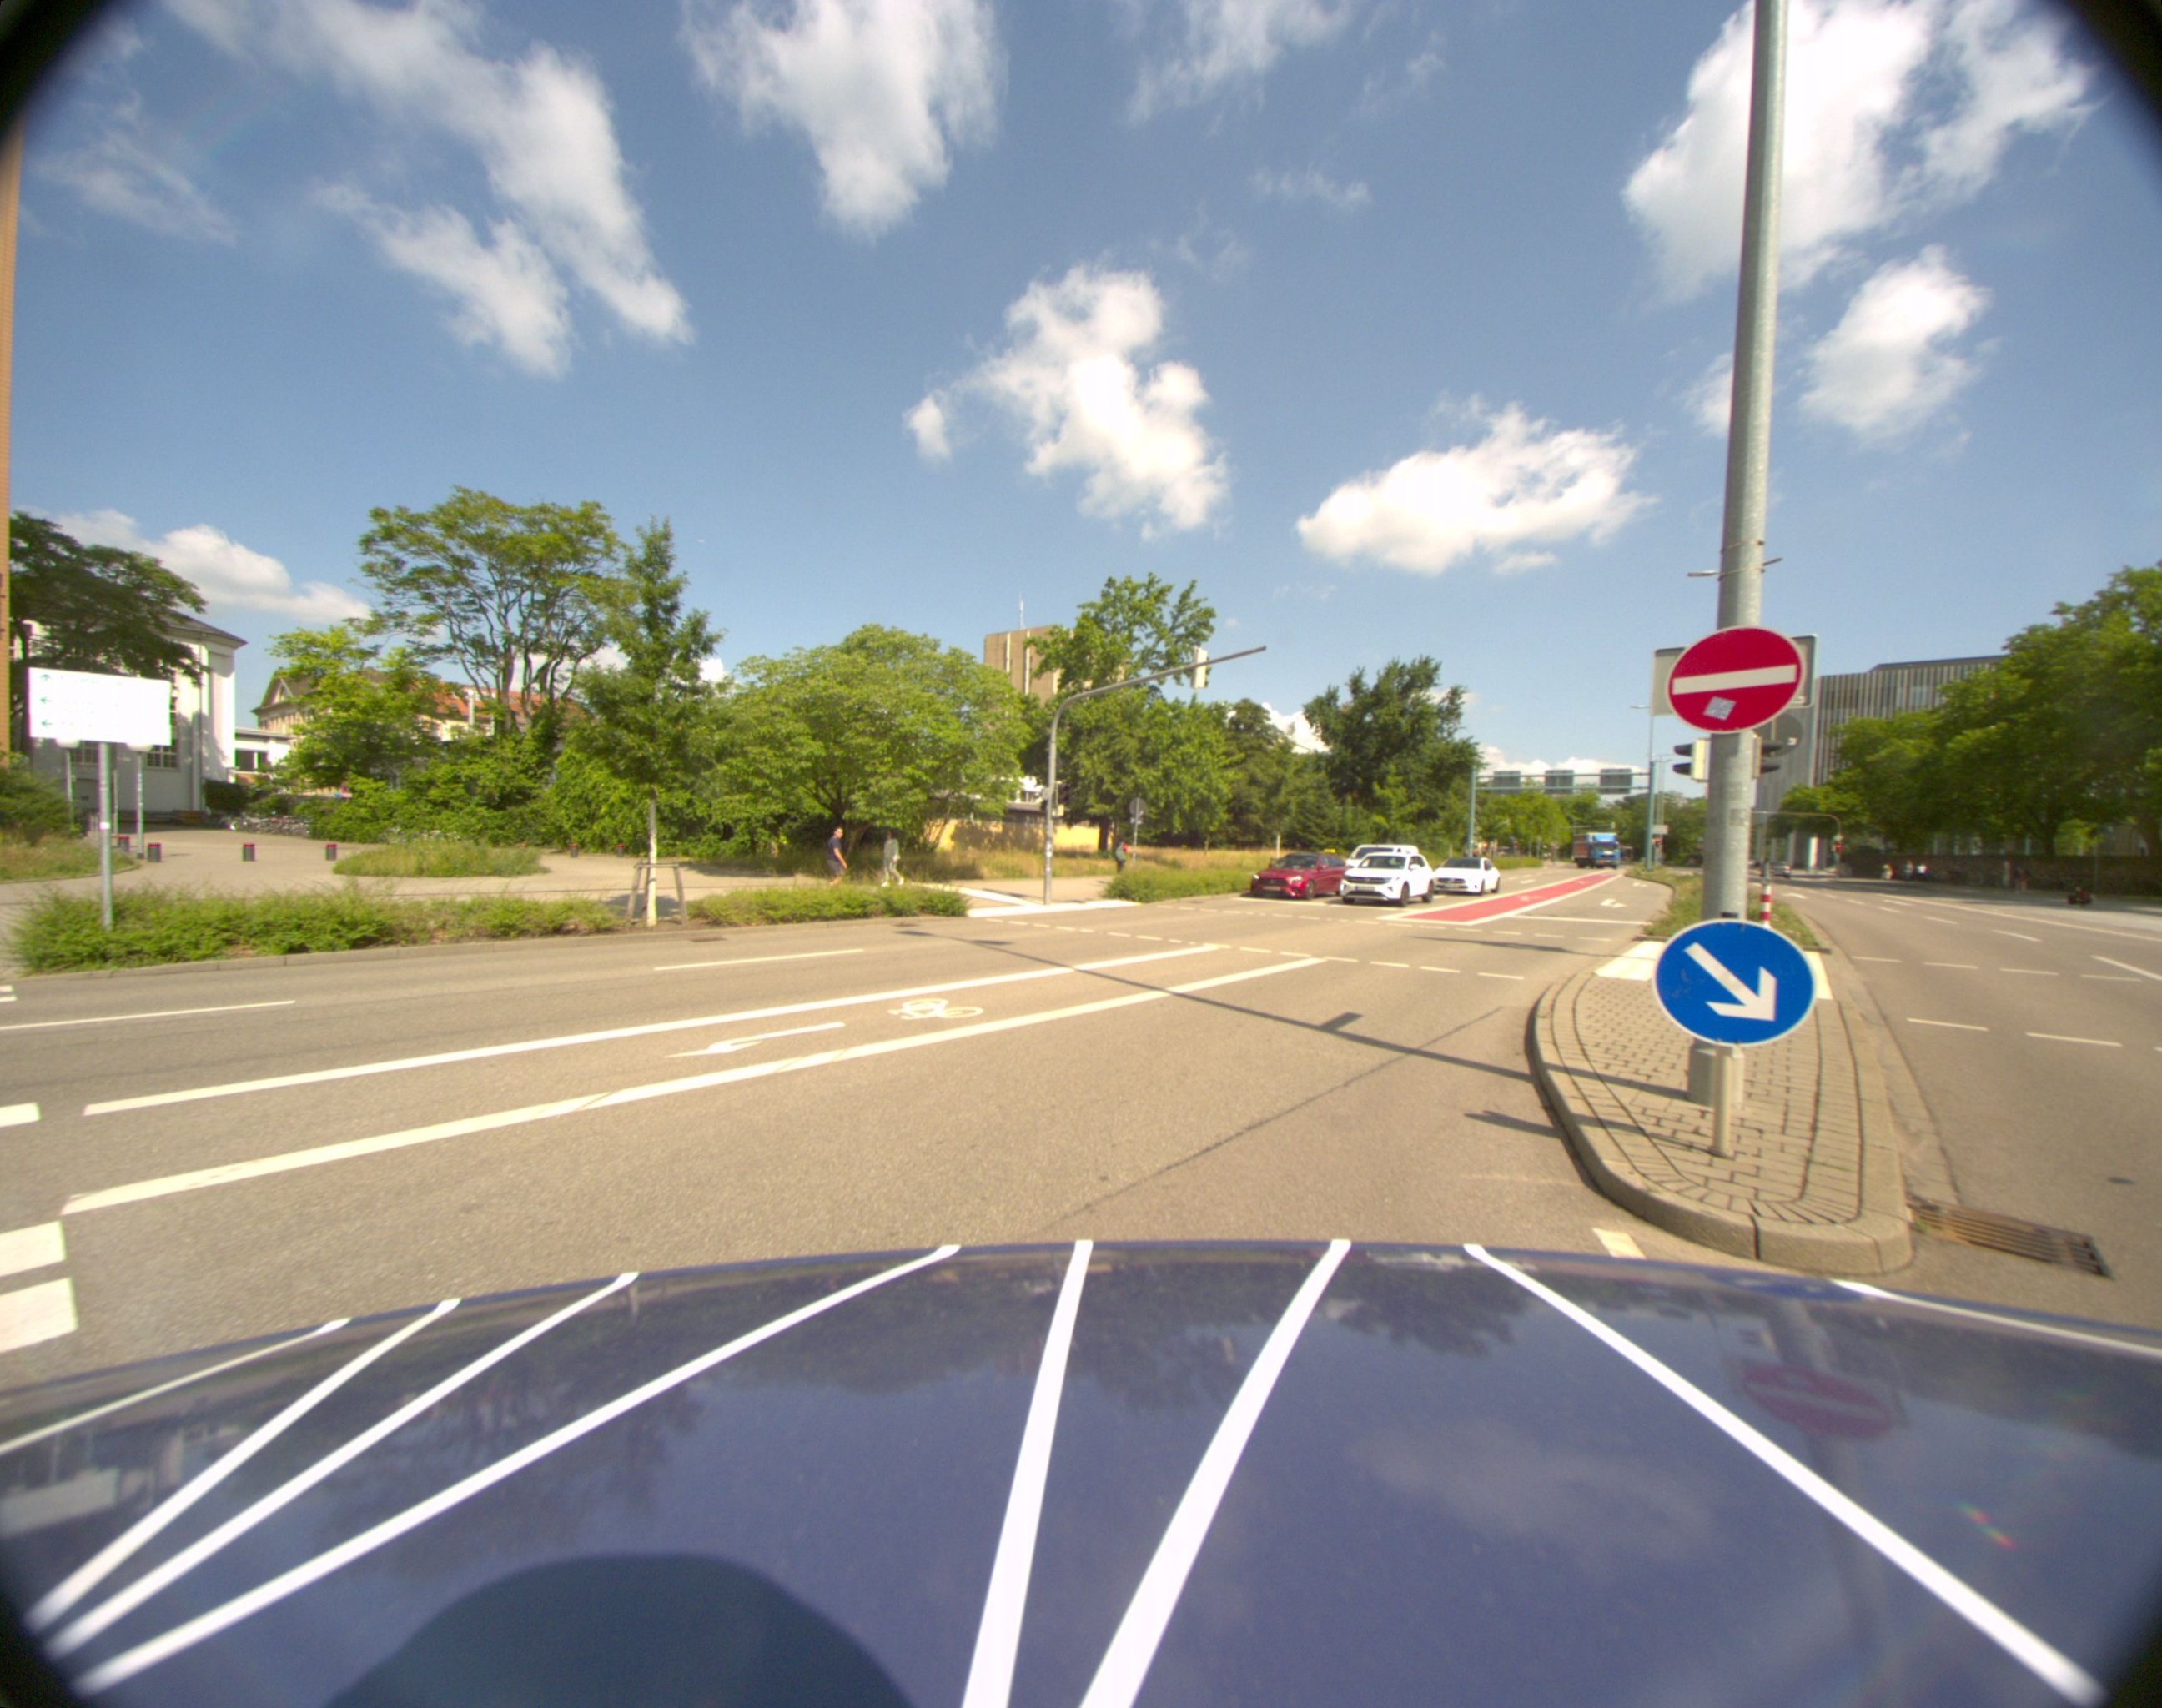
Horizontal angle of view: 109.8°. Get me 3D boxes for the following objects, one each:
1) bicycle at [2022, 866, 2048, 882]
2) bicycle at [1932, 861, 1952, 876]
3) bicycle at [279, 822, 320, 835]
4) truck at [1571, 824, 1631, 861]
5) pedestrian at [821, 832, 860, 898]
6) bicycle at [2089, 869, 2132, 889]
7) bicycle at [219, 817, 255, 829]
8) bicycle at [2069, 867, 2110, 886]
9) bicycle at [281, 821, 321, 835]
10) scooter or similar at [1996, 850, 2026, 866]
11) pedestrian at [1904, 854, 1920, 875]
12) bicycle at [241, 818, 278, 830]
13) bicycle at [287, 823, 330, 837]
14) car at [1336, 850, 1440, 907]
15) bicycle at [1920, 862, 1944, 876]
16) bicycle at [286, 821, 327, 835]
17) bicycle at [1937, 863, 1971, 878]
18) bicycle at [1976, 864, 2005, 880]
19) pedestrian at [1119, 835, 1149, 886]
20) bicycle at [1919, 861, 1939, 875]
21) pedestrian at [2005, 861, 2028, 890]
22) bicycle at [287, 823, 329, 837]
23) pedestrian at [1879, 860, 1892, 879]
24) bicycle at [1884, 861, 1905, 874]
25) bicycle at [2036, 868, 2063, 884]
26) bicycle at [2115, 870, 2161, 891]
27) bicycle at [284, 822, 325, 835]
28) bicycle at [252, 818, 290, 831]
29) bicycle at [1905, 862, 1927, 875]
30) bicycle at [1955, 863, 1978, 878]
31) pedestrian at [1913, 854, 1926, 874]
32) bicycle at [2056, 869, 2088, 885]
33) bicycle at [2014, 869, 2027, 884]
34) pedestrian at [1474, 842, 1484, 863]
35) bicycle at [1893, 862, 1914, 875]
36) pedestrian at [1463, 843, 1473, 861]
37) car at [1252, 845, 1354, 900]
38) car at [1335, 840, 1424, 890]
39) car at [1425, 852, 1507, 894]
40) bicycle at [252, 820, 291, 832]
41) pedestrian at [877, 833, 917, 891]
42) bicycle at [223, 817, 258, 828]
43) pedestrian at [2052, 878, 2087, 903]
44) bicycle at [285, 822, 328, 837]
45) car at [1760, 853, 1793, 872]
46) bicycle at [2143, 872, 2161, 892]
[{"bbox_3d":[62.249,1.291,49.580,0.366,0.950,1.404,2,2,22],"label":"bicycle"},{"bbox_3d":[66.779,1.108,58.935,0.370,1.042,1.884,3,2,28],"label":"bicycle"},{"bbox_3d":[-44.002,-1.432,42.799,0.507,0.716,1.562,3,3,41],"label":"bicycle"},{"bbox_3d":[57.146,-1.277,83.800,2.660,3.778,9.200,2,2,17],"label":"truck"},{"bbox_3d":[-5.583,0.241,17.641,0.770,1.499,0.553,3,2,44],"label":"pedestrian"},{"bbox_3d":[58.930,1.413,43.507,0.582,1.067,1.758,2,2,22],"label":"bicycle"},{"bbox_3d":[-56.608,-2.084,50.967,0.507,0.716,1.562,3,3,41],"label":"bicycle"},{"bbox_3d":[59.716,1.319,45.003,0.582,1.067,1.758,2,2,22],"label":"bicycle"},{"bbox_3d":[-44.518,-1.486,43.398,0.507,0.716,1.562,3,3,41],"label":"bicycle"},{"bbox_3d":[62.776,0.286,51.314,0.580,1.042,1.884,3,2,28],"label":"scooter or similar"},{"bbox_3d":[66.062,0.825,60.398,0.641,1.642,0.733,3,2,32],"label":"pedestrian"},{"bbox_3d":[-52.103,-1.877,48.187,0.507,0.716,1.562,3,3,41],"label":"bicycle"},{"bbox_3d":[-41.298,-1.303,40.647,0.507,0.716,1.562,3,3,41],"label":"bicycle"},{"bbox_3d":[9.274,0.653,22.790,1.791,1.530,4.019,1,1,39],"label":"car"},{"bbox_3d":[66.260,1.135,59.158,0.592,1.042,1.884,3,2,28],"label":"bicycle"},{"bbox_3d":[-42.824,-1.441,42.026,0.507,0.716,1.562,3,3,41],"label":"bicycle"},{"bbox_3d":[65.316,1.204,56.871,0.592,1.042,1.883,2,2,13],"label":"bicycle"},{"bbox_3d":[63.607,1.248,53.147,0.580,1.042,1.884,3,2,28],"label":"bicycle"},{"bbox_3d":[1.839,0.228,26.407,0.742,1.726,0.680,3,3,42],"label":"pedestrian"},{"bbox_3d":[67.873,1.092,60.835,0.370,1.042,1.884,3,2,28],"label":"bicycle"},{"bbox_3d":[53.114,1.205,43.140,0.656,1.600,0.746,2,2,39],"label":"pedestrian"},{"bbox_3d":[-41.761,-1.303,41.054,0.507,0.716,1.562,3,3,41],"label":"bicycle"},{"bbox_3d":[68.290,1.314,64.497,0.560,1.642,0.728,3,2,32],"label":"pedestrian"},{"bbox_3d":[71.458,1.206,66.733,0.630,1.042,1.884,3,2,28],"label":"bicycle"},{"bbox_3d":[61.415,1.402,48.169,0.366,0.950,1.404,2,2,22],"label":"bicycle"},{"bbox_3d":[58.212,1.456,41.847,0.582,1.067,1.758,2,2,21],"label":"bicycle"},{"bbox_3d":[-43.436,-1.437,42.490,0.507,0.716,1.562,3,3,41],"label":"bicycle"},{"bbox_3d":[-49.168,-1.779,46.129,0.507,0.716,1.562,3,3,41],"label":"bicycle"},{"bbox_3d":[69.365,1.199,63.120,0.564,1.042,1.884,3,2,28],"label":"bicycle"},{"bbox_3d":[64.283,1.180,55.192,0.394,1.042,1.884,3,2,28],"label":"bicycle"},{"bbox_3d":[66.821,0.804,60.529,0.476,1.531,0.618,3,2,32],"label":"pedestrian"},{"bbox_3d":[60.653,1.405,46.499,0.370,0.950,1.629,2,2,22],"label":"bicycle"},{"bbox_3d":[61.041,1.471,49.375,1.628,0.950,0.366,0,2,-44],"label":"bicycle"},{"bbox_3d":[35.318,-0.118,67.418,0.567,1.791,0.640,3,2,38],"label":"pedestrian"},{"bbox_3d":[70.307,1.203,64.957,0.630,1.042,1.884,3,2,28],"label":"bicycle"},{"bbox_3d":[34.552,-0.208,67.859,0.623,1.572,0.710,3,2,38],"label":"pedestrian"},{"bbox_3d":[7.481,0.541,25.313,1.681,1.632,4.472,2,2,38],"label":"car"},{"bbox_3d":[12.286,0.407,31.061,1.942,1.859,4.835,3,2,39],"label":"car"},{"bbox_3d":[14.873,0.685,29.239,1.904,1.416,4.394,3,2,39],"label":"car"},{"bbox_3d":[-48.055,-1.659,45.114,0.507,0.716,1.562,3,3,41],"label":"bicycle"},{"bbox_3d":[-5.335,0.223,21.997,0.868,1.629,0.722,3,3,40],"label":"pedestrian"},{"bbox_3d":[-57.054,-2.118,51.567,0.507,0.716,1.562,3,3,41],"label":"bicycle"},{"bbox_3d":[41.997,1.542,32.290,0.694,0.957,0.744,2,2,36],"label":"pedestrian"},{"bbox_3d":[-40.752,-1.289,39.977,0.507,0.716,1.562,3,3,41],"label":"bicycle"},{"bbox_3d":[60.759,0.723,66.406,1.700,1.437,4.154,4,3,37],"label":"car"},{"bbox_3d":[57.419,1.508,40.098,0.583,1.067,1.758,2,2,16],"label":"bicycle"}]
